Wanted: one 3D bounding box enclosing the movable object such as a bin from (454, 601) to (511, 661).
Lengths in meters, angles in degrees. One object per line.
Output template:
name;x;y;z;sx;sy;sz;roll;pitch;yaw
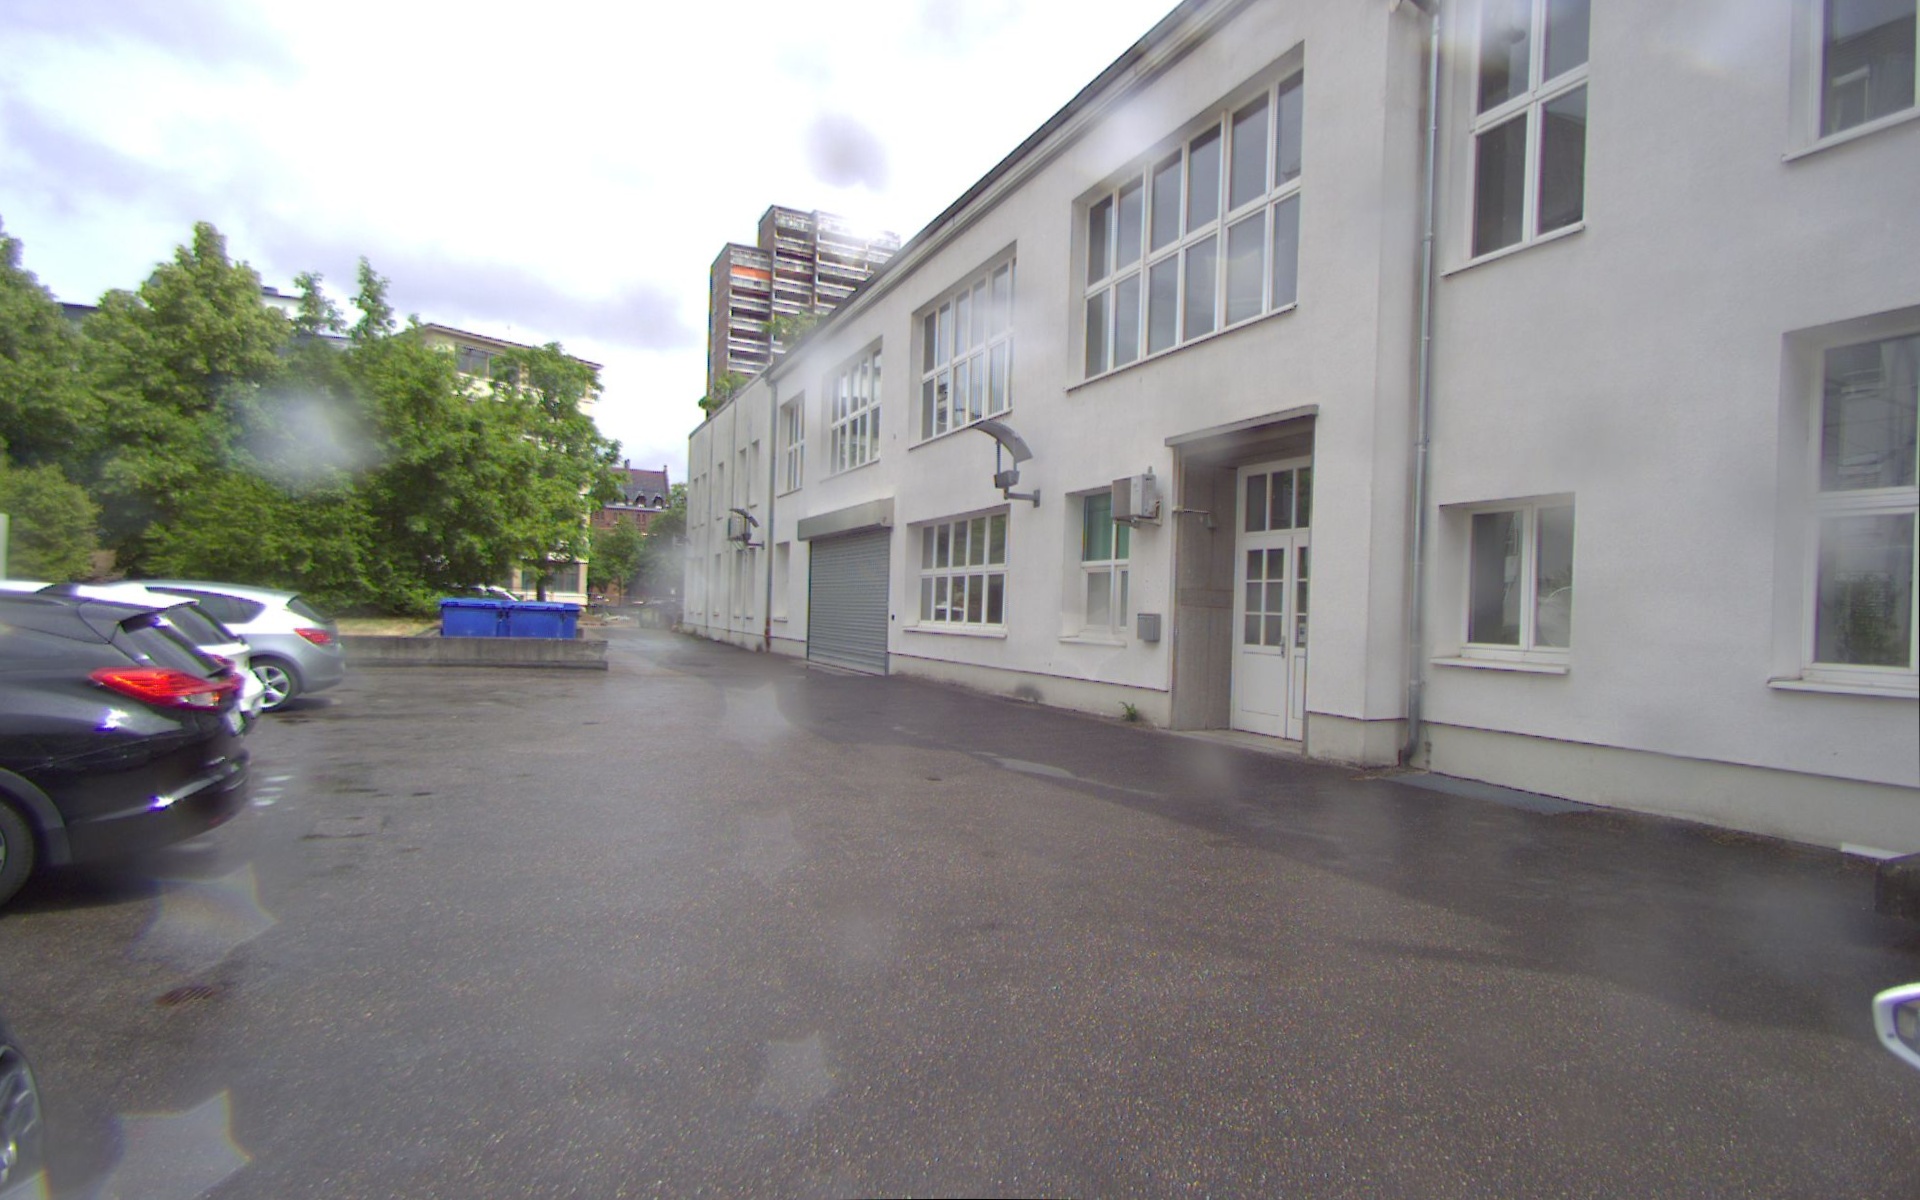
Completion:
movable object such as a bin;-11.286;0.719;23.783;1.115;1.346;1.202;1;0;-22

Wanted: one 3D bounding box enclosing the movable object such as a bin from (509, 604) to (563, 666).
movable object such as a bin;-9.581;0.778;22.749;1.079;1.343;1.202;1;0;-22

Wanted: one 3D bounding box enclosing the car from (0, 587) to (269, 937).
car;-5.659;0.626;4.314;4.268;1.462;1.748;3;-1;-32

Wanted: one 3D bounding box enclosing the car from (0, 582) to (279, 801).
car;-7.470;0.586;7.218;4.078;1.462;1.682;3;-1;-30

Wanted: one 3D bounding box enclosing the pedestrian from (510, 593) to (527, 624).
pedestrian;-26.416;0.486;60.073;0.850;1.838;0.857;1;0;-30

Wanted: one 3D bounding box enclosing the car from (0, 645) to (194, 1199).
car;-3.255;0.699;0.370;4.478;1.370;1.748;3;-1;-31

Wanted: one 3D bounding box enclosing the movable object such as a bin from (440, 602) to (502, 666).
movable object such as a bin;-10.781;0.738;22.196;1.115;1.346;1.202;1;0;-22

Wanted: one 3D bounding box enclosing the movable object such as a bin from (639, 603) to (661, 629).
movable object such as a bin;-16.916;0.850;54.776;1.051;1.374;1.258;1;0;-22

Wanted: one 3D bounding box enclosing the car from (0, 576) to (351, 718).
car;-9.669;0.536;11.774;4.268;1.462;1.748;3;-1;-32

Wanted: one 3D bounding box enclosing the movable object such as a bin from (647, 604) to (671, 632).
movable object such as a bin;-15.237;0.909;50.822;1.031;1.374;1.201;1;0;-22

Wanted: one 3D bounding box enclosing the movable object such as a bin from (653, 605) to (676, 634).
movable object such as a bin;-14.518;0.933;49.305;0.964;1.374;0.914;1;0;-22

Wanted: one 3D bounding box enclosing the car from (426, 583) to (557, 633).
car;-17.512;0.291;37.780;4.269;1.750;1.714;2;0;-21

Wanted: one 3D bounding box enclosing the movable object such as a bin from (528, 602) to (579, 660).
movable object such as a bin;-9.926;0.752;24.547;1.115;1.346;1.202;1;0;-22

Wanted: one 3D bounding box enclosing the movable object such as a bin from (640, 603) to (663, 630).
movable object such as a bin;-16.427;0.868;53.501;1.051;1.374;1.258;1;0;-22
